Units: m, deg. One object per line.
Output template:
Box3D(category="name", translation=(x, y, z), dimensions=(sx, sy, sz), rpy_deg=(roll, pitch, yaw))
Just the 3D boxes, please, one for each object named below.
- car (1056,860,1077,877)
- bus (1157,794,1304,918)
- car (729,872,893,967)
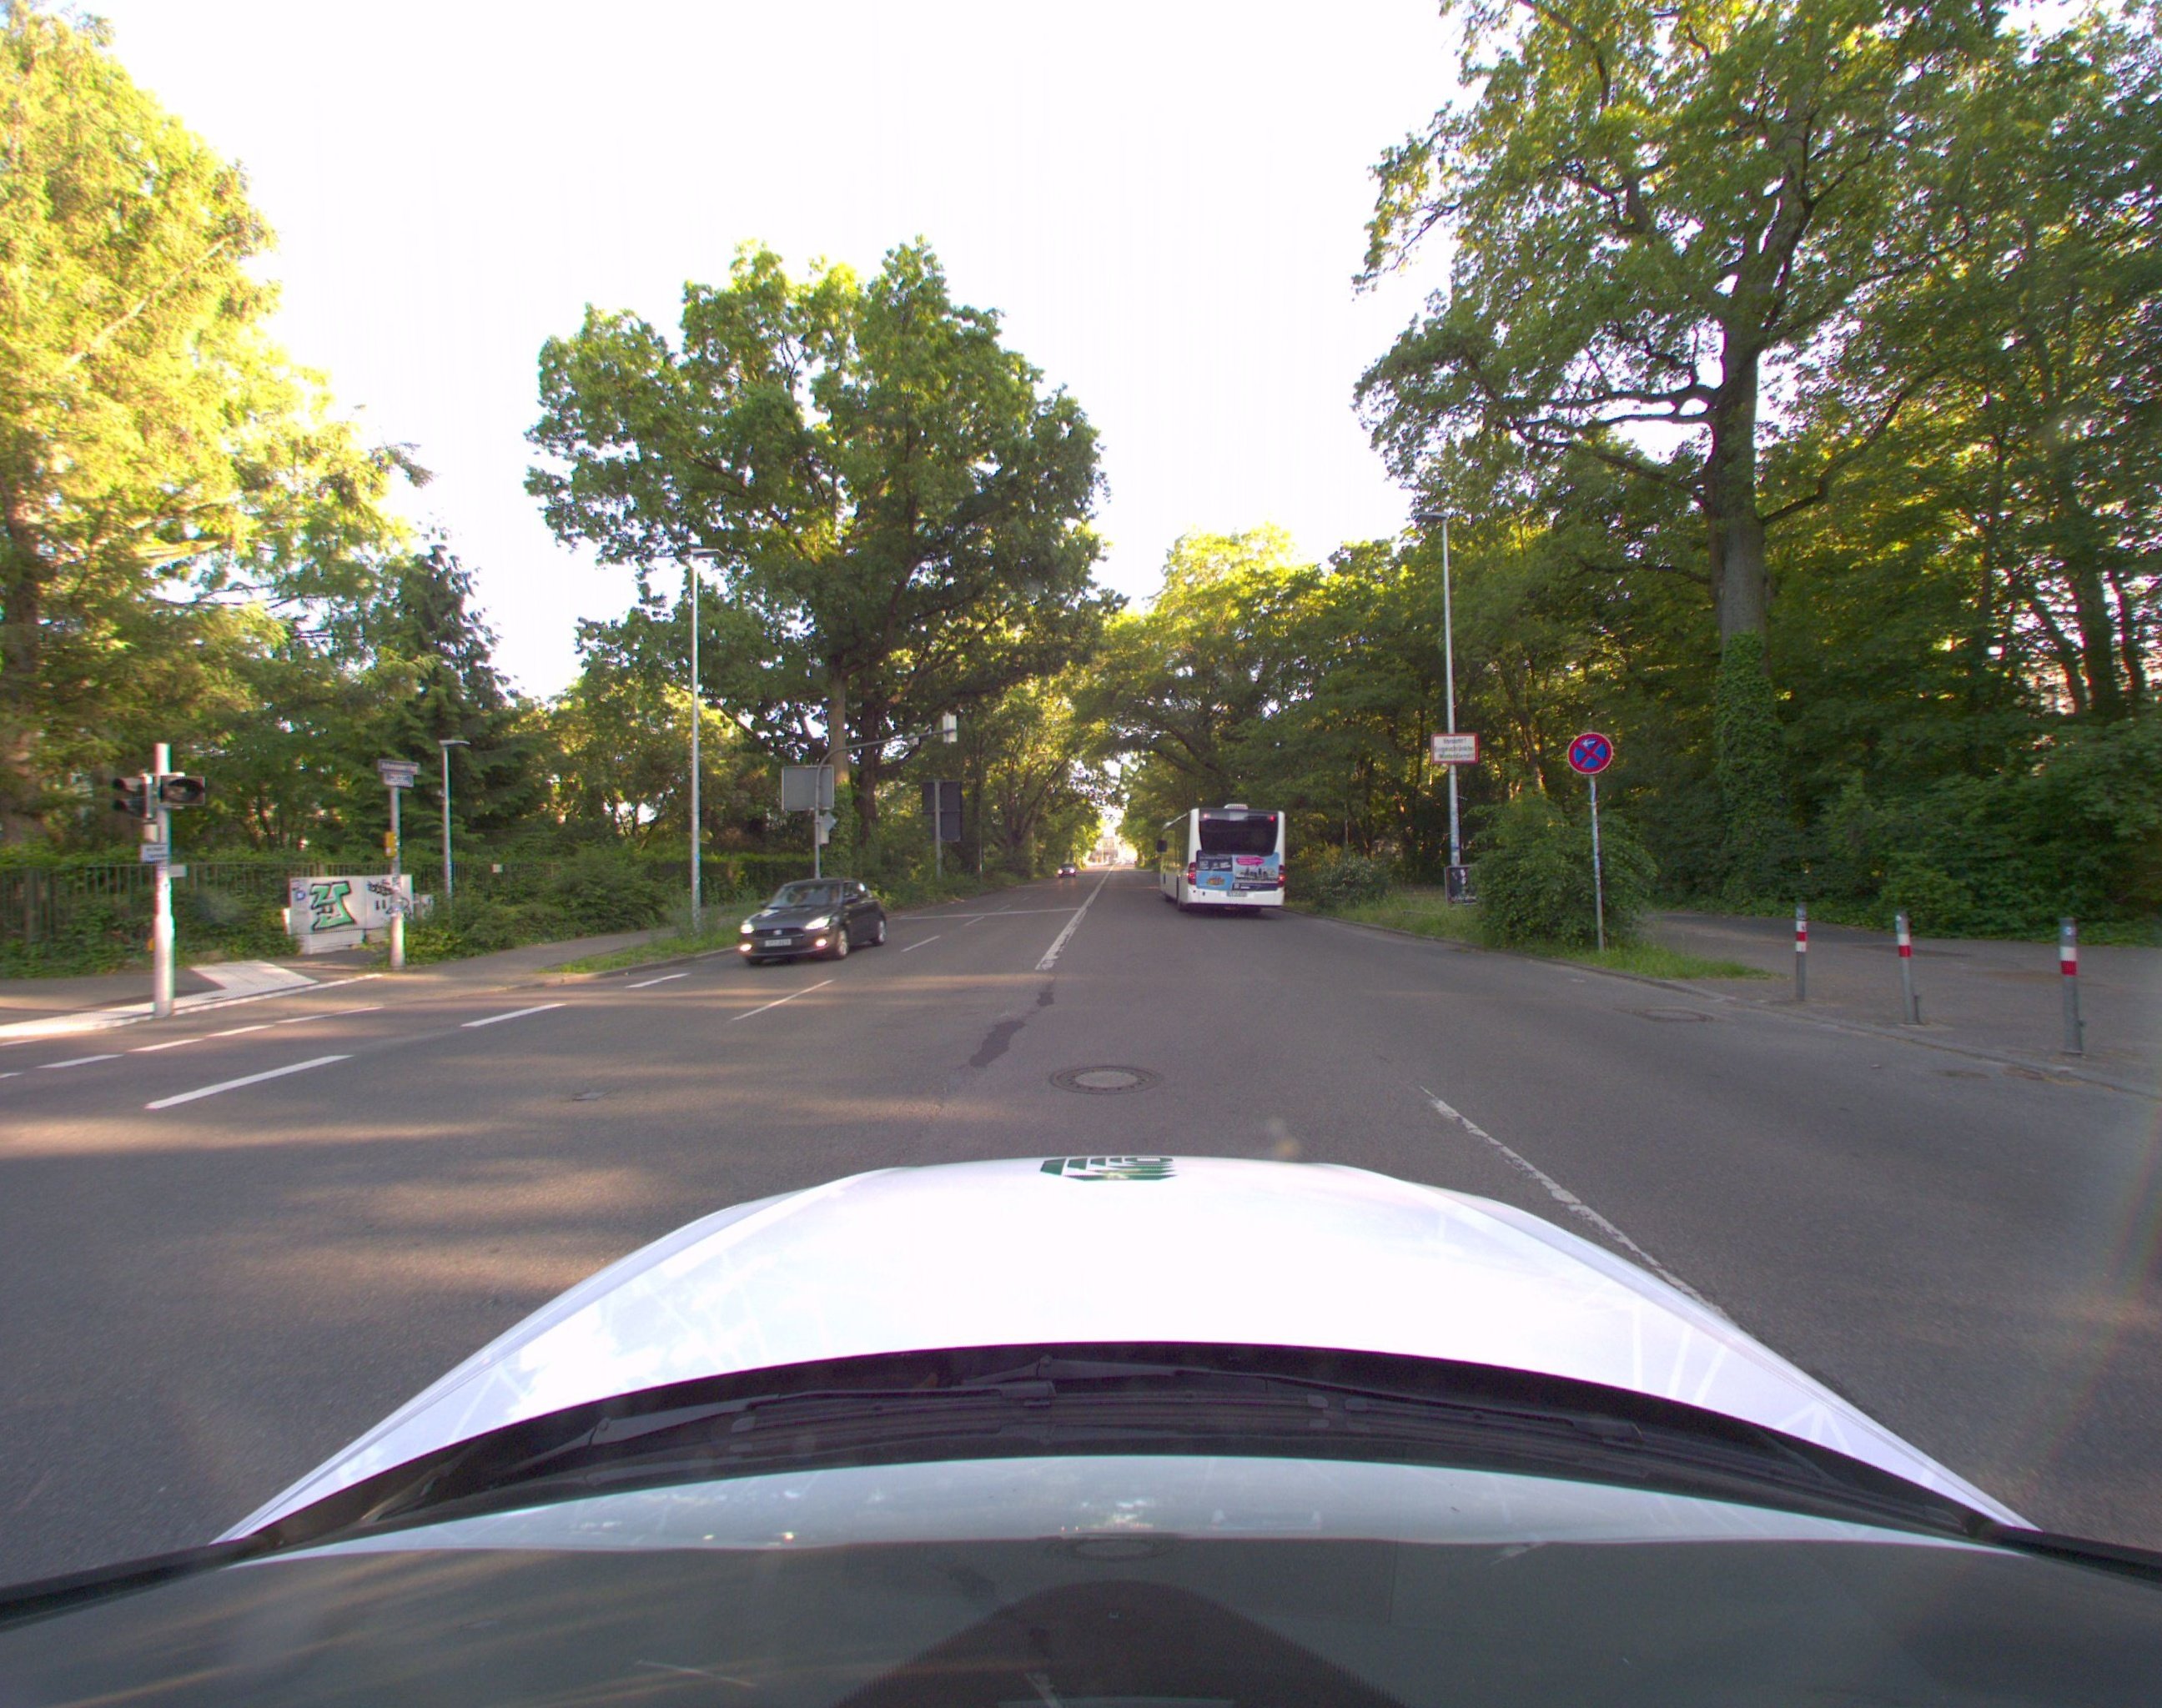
Box3D(category="car", translation=(-1.462, 1.501, 84.171), dimensions=(1.799, 1.580, 4.321), rpy_deg=(-4, -1, 2))
Box3D(category="bus", translation=(4.387, 0.099, 26.908), dimensions=(3.000, 3.087, 12.276), rpy_deg=(1, 0, 2))
Box3D(category="car", translation=(-4.959, 1.143, 15.508), dimensions=(1.701, 1.453, 3.642), rpy_deg=(-4, -1, 2))
